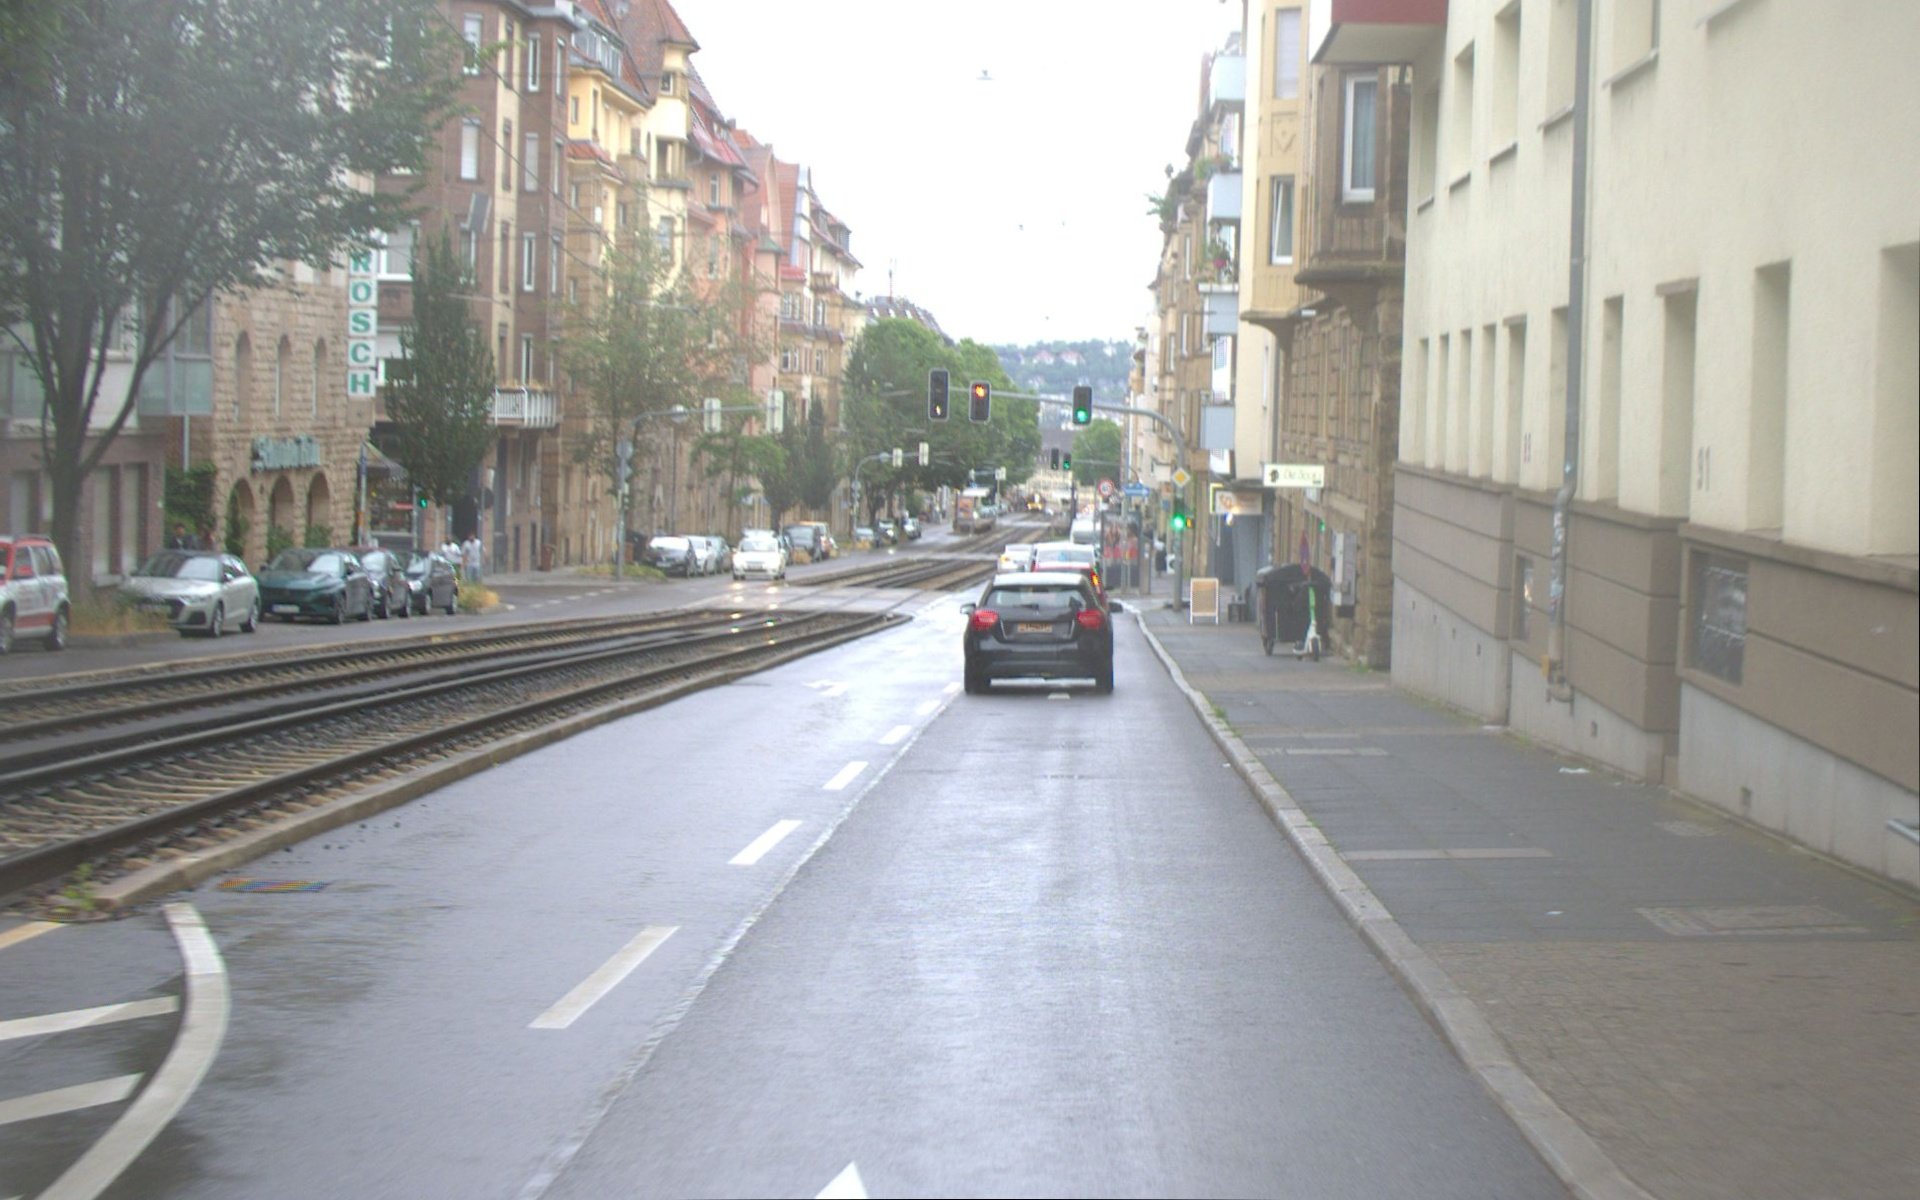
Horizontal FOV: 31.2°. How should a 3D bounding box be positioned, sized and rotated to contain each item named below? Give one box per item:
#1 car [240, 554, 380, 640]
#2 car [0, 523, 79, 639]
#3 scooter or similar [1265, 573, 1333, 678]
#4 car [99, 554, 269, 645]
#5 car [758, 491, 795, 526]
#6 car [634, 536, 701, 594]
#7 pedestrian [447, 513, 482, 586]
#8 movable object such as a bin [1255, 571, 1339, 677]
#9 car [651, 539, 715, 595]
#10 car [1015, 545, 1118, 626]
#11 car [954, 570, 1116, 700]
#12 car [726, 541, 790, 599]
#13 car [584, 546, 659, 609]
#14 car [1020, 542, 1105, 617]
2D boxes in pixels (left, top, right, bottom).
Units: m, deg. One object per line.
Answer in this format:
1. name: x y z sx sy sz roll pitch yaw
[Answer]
1. car: -12.639 -0.071 67.092 1.773 1.614 4.255 0 0 2
2. car: -13.530 -0.258 46.987 1.773 1.541 4.255 0 0 1
3. scooter or similar: 5.248 0.390 53.254 0.918 1.599 0.862 1 1 -2
4. car: -13.127 -0.003 58.418 1.773 1.483 4.255 0 0 2
5. car: -11.090 -5.506 207.788 1.993 2.007 4.000 1 1 0
6. car: -10.456 -1.235 123.252 1.993 2.007 4.346 0 0 0
7. pedestrian: -13.702 -1.399 95.064 0.871 2.007 0.704 0 -1 1
8. movable object such as a bin: 5.353 0.370 54.759 1.167 1.650 1.309 0 1 -2
9. car: -10.312 -1.204 128.295 1.993 2.007 4.346 0 0 0
10. car: 2.054 -0.271 67.193 1.852 1.468 4.000 2 0 0
11. car: 0.888 0.389 41.926 1.852 1.468 4.000 1 1 0
12. car: -7.274 -1.091 124.205 1.993 2.007 4.347 1 1 0
13. car: -11.130 -0.728 113.240 1.993 2.007 4.346 0 0 0
14. car: 2.561 -0.500 86.780 1.948 1.787 4.144 2 0 0
